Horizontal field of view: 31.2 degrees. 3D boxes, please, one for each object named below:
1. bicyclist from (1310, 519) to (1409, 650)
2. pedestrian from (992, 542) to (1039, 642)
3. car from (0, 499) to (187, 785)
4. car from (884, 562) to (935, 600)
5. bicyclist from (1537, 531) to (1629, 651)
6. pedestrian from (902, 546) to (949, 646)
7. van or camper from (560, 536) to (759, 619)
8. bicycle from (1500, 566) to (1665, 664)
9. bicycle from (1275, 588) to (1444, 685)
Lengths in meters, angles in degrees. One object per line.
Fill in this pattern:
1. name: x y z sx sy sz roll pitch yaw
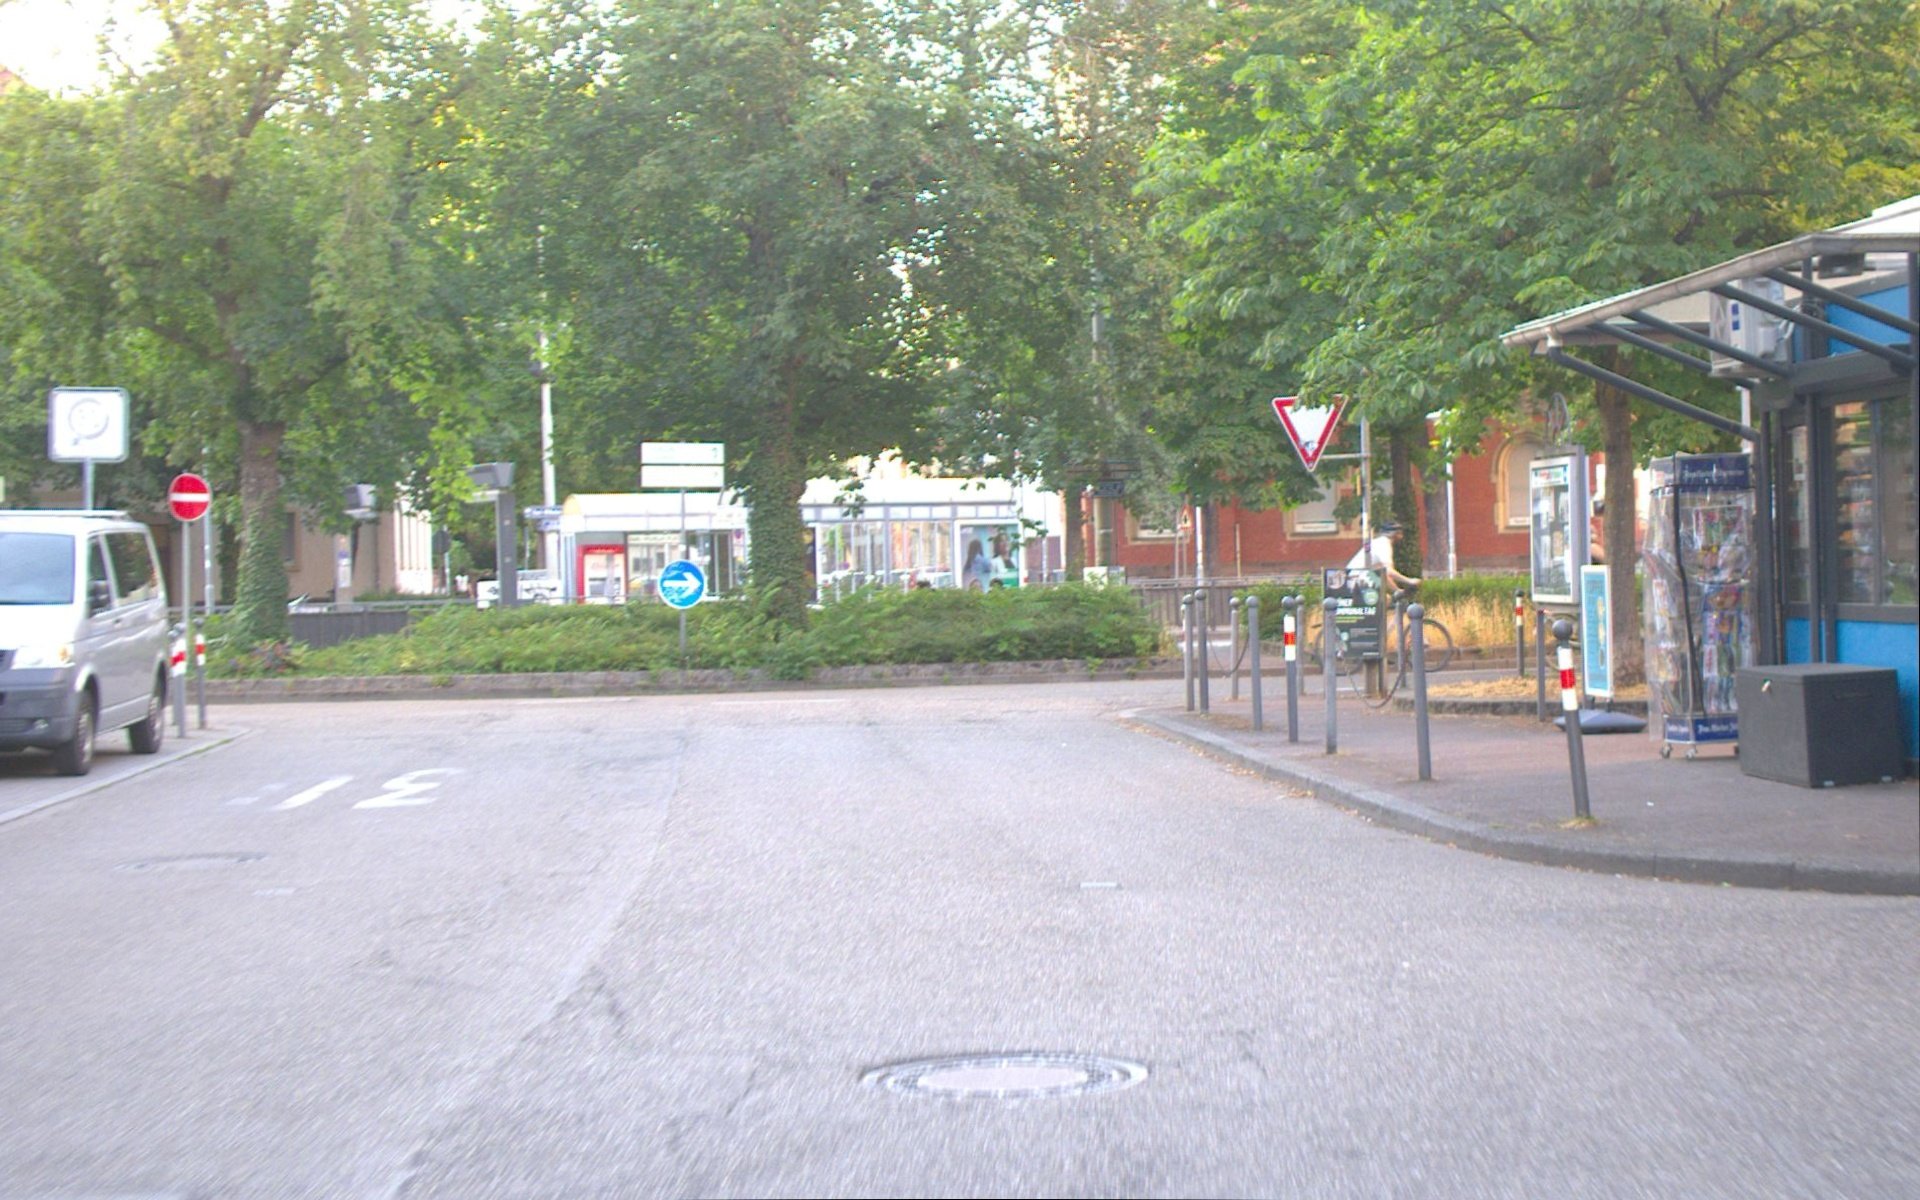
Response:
1. bicyclist: 4.709 -0.186 40.536 0.916 1.497 0.709 -2 1 -19
2. pedestrian: 0.797 -0.121 49.911 0.616 1.426 0.655 -1 1 -2
3. car: -7.552 0.270 27.102 2.040 2.050 5.005 0 1 -3
4. car: -2.299 -0.856 155.079 1.993 1.698 4.721 0 0 -5
5. bicyclist: 7.222 -0.108 39.851 0.736 1.354 0.709 -2 1 -29
6. pedestrian: -0.500 -0.059 49.717 0.616 1.426 0.655 -1 1 -2
7. van or camper: -11.324 -0.840 129.304 7.363 3.072 2.674 0 0 -8
8. bicycle: 7.219 0.161 39.843 1.828 1.066 0.709 -2 1 -29
9. bicycle: 4.714 0.421 40.539 1.828 1.066 0.709 -2 1 -19
